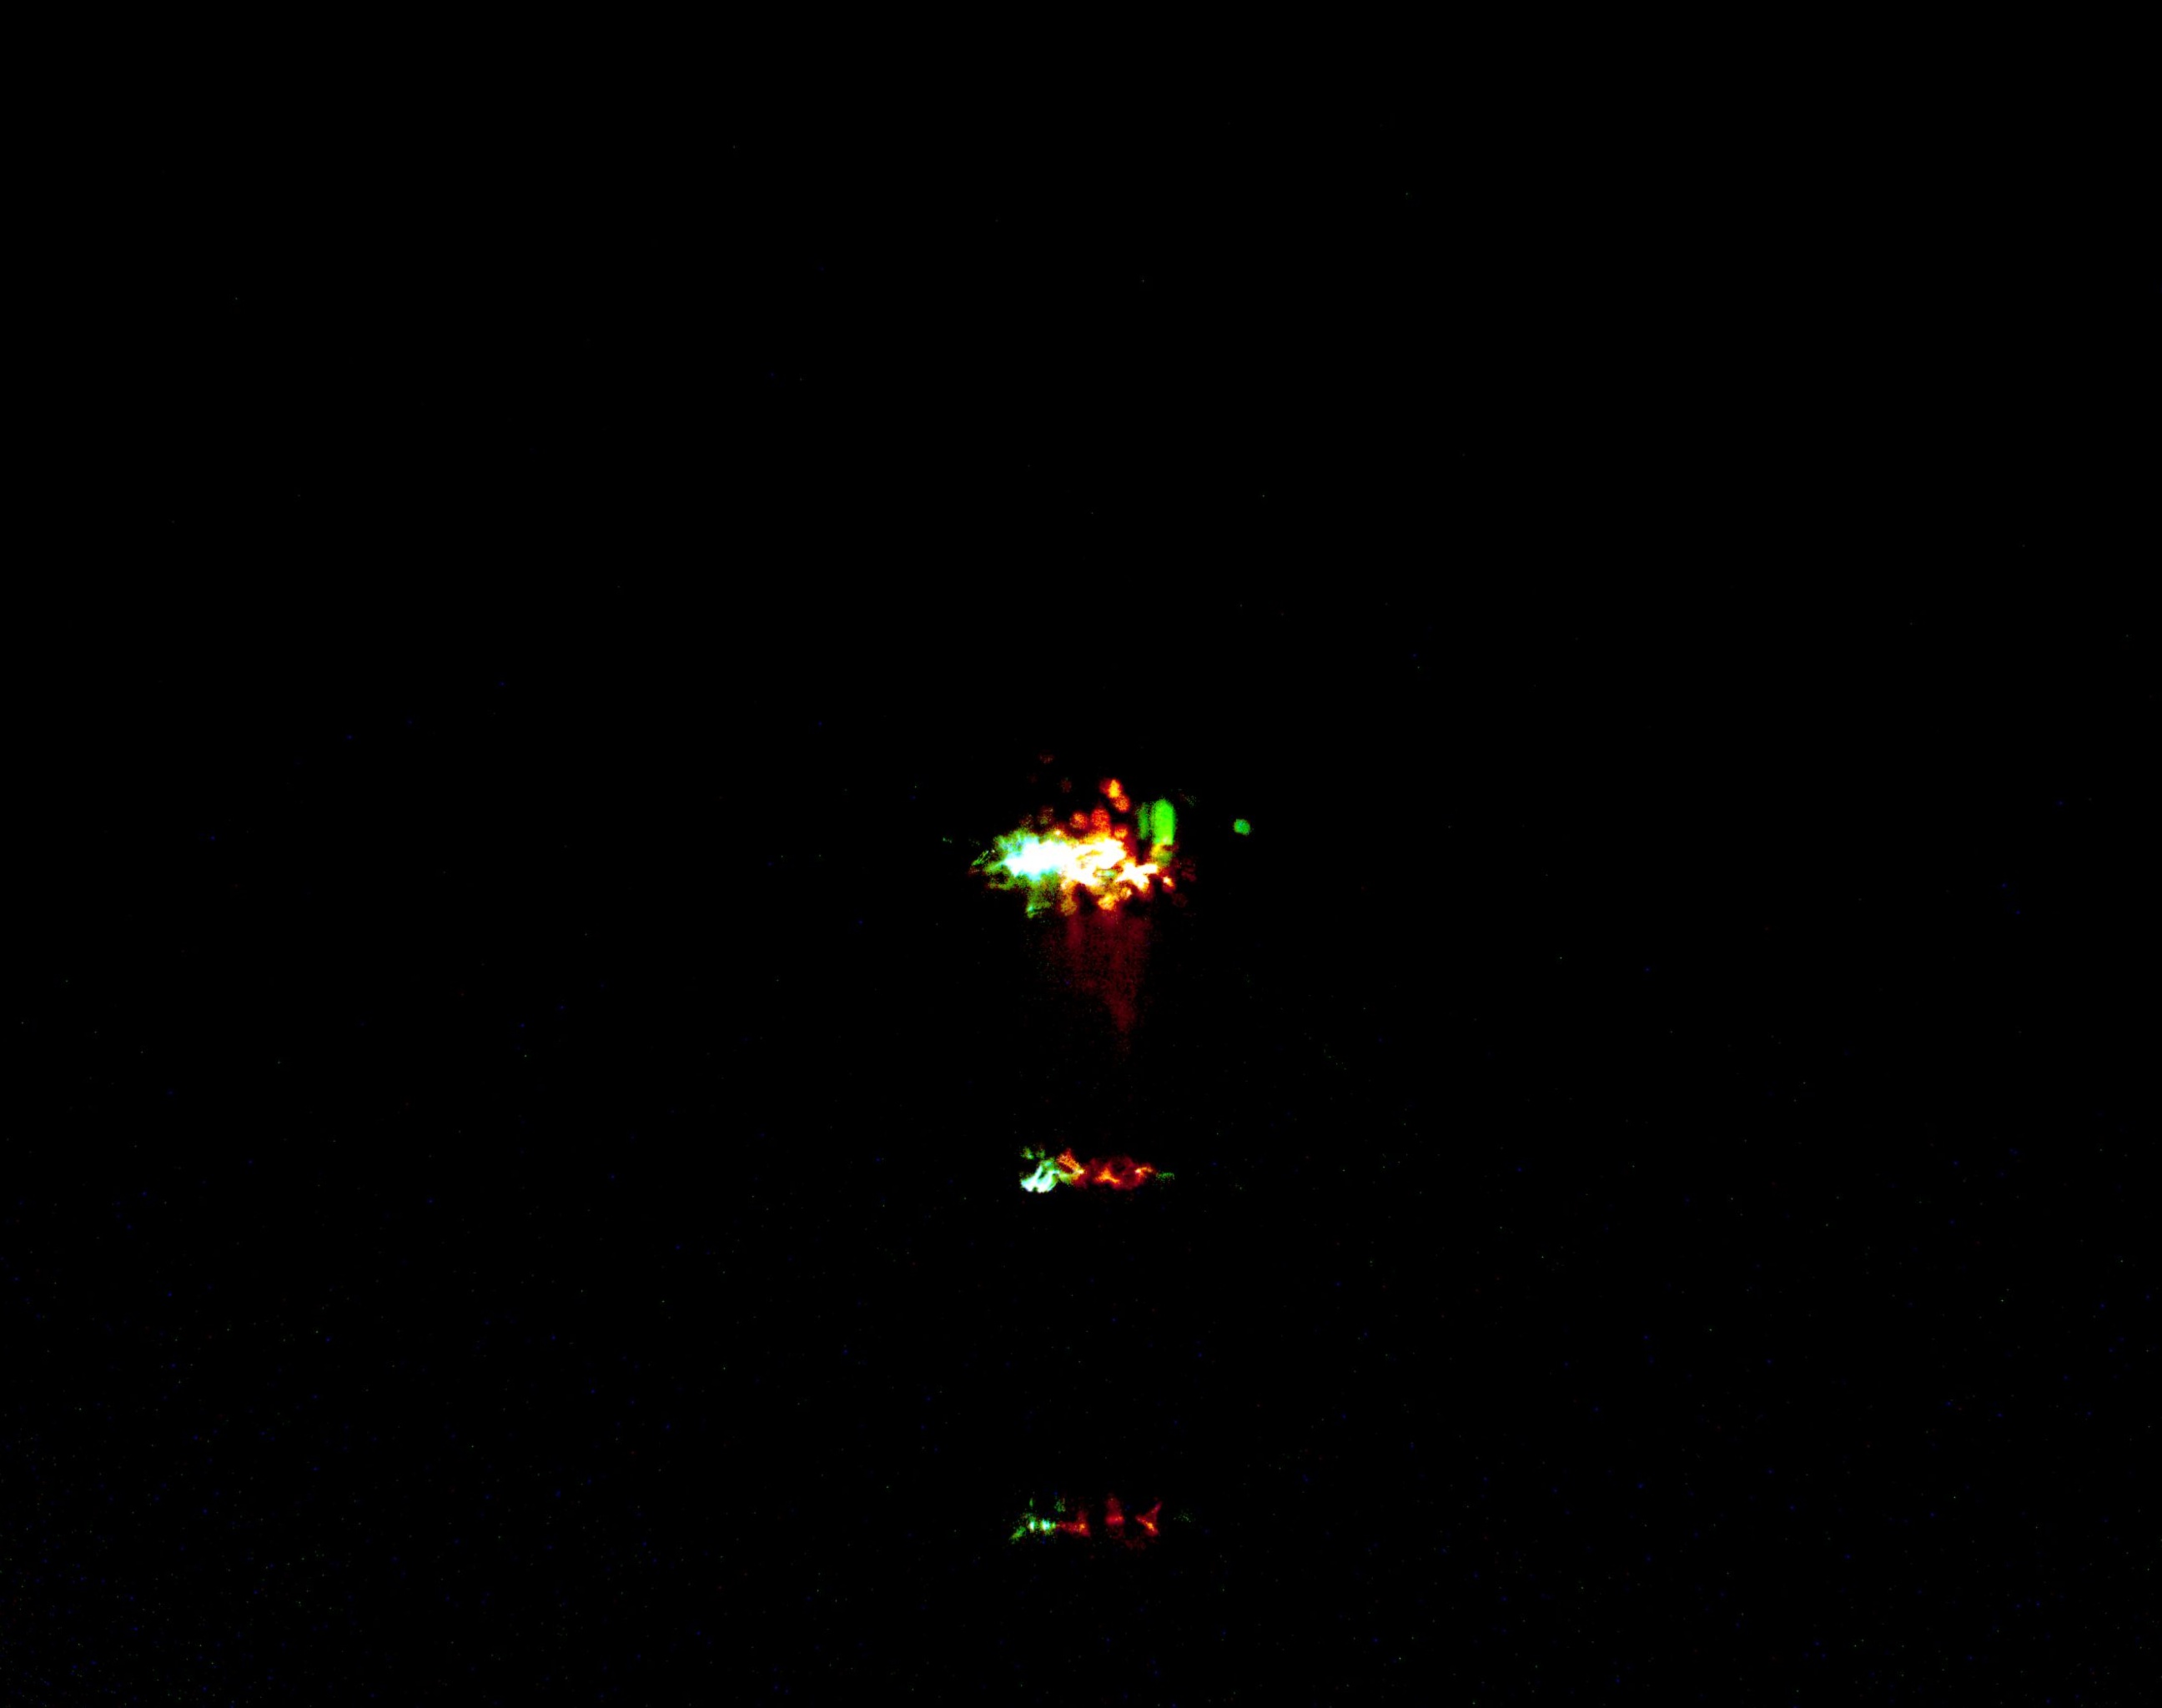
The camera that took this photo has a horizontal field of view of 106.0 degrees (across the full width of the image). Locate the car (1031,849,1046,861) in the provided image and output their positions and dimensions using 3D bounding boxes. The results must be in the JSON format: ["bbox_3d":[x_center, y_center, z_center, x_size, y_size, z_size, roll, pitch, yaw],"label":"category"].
[{"bbox_3d":[-5.482,0.109,105.360,1.857,1.544,4.226,0,1,-2],"label":"car"}]

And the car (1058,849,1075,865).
[{"bbox_3d":[-1.738,0.325,99.881,1.988,1.915,3.998,1,0,-1],"label":"car"}]

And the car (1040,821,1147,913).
[{"bbox_3d":[0.316,0.349,24.128,2.707,2.307,6.099,-2,0,0],"label":"car"}]
